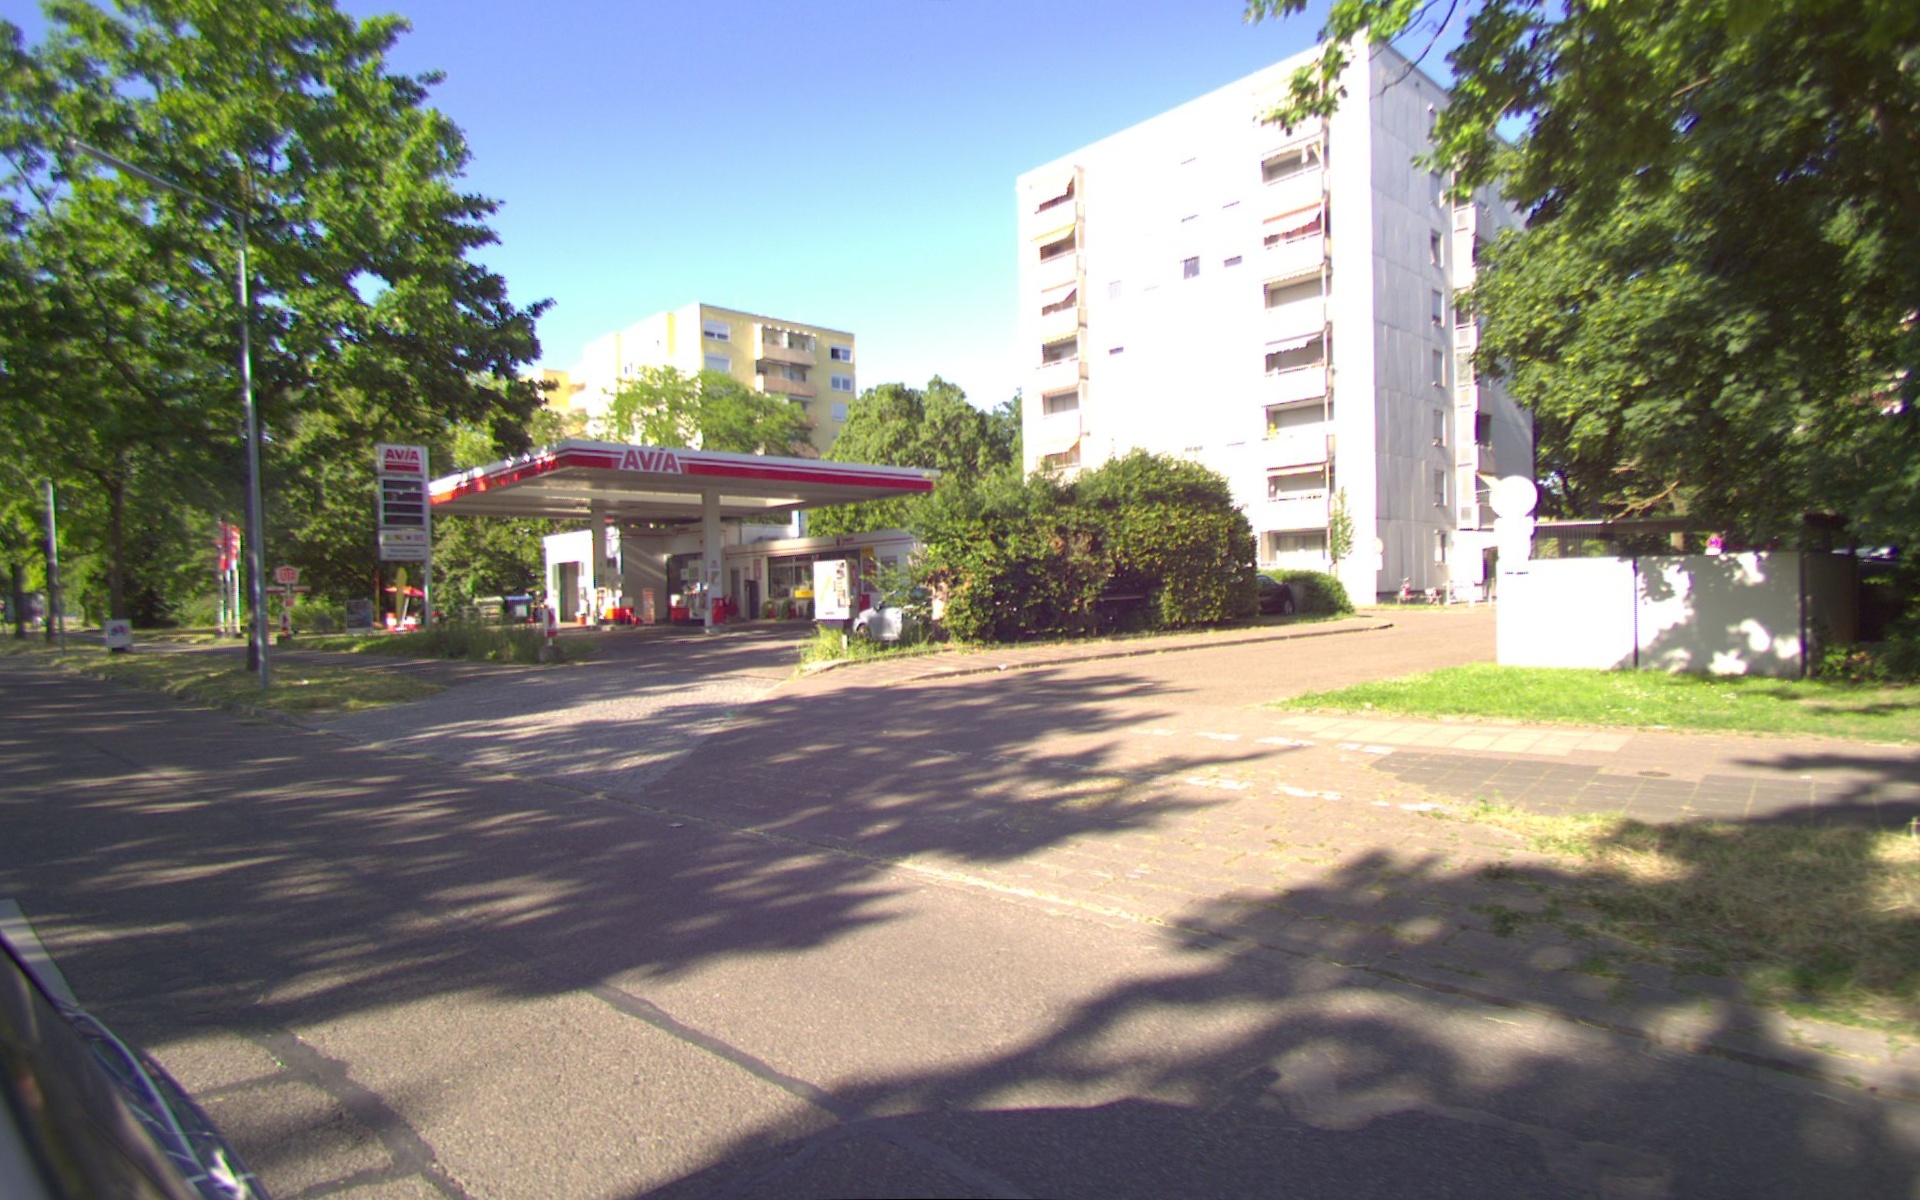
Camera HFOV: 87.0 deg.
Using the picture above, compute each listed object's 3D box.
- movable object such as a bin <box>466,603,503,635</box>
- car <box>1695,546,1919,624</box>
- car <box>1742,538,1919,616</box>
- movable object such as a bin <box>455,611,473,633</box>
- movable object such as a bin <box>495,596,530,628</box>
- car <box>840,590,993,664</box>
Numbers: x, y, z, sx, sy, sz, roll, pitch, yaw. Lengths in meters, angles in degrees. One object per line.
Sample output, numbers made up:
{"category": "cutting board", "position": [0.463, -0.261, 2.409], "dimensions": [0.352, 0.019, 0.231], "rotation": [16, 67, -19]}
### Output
{"category": "movable object such as a bin", "position": [-24.243, 0.963, 51.580], "dimensions": [1.267, 1.553, 1.290], "rotation": [-1, 0, 42]}
{"category": "car", "position": [21.132, -0.336, 25.306], "dimensions": [4.253, 1.767, 1.973], "rotation": [-2, 0, 42]}
{"category": "car", "position": [26.609, -0.649, 30.258], "dimensions": [1.970, 2.148, 4.832], "rotation": [-2, 0, -44]}
{"category": "movable object such as a bin", "position": [-24.956, 1.092, 50.948], "dimensions": [0.768, 1.094, 0.562], "rotation": [-1, 0, 42]}
{"category": "movable object such as a bin", "position": [-23.227, 0.614, 52.529], "dimensions": [1.163, 1.553, 1.290], "rotation": [-1, 1, 42]}
{"category": "car", "position": [-1.035, 0.569, 22.561], "dimensions": [1.527, 1.432, 3.492], "rotation": [-4, 2, -40]}
